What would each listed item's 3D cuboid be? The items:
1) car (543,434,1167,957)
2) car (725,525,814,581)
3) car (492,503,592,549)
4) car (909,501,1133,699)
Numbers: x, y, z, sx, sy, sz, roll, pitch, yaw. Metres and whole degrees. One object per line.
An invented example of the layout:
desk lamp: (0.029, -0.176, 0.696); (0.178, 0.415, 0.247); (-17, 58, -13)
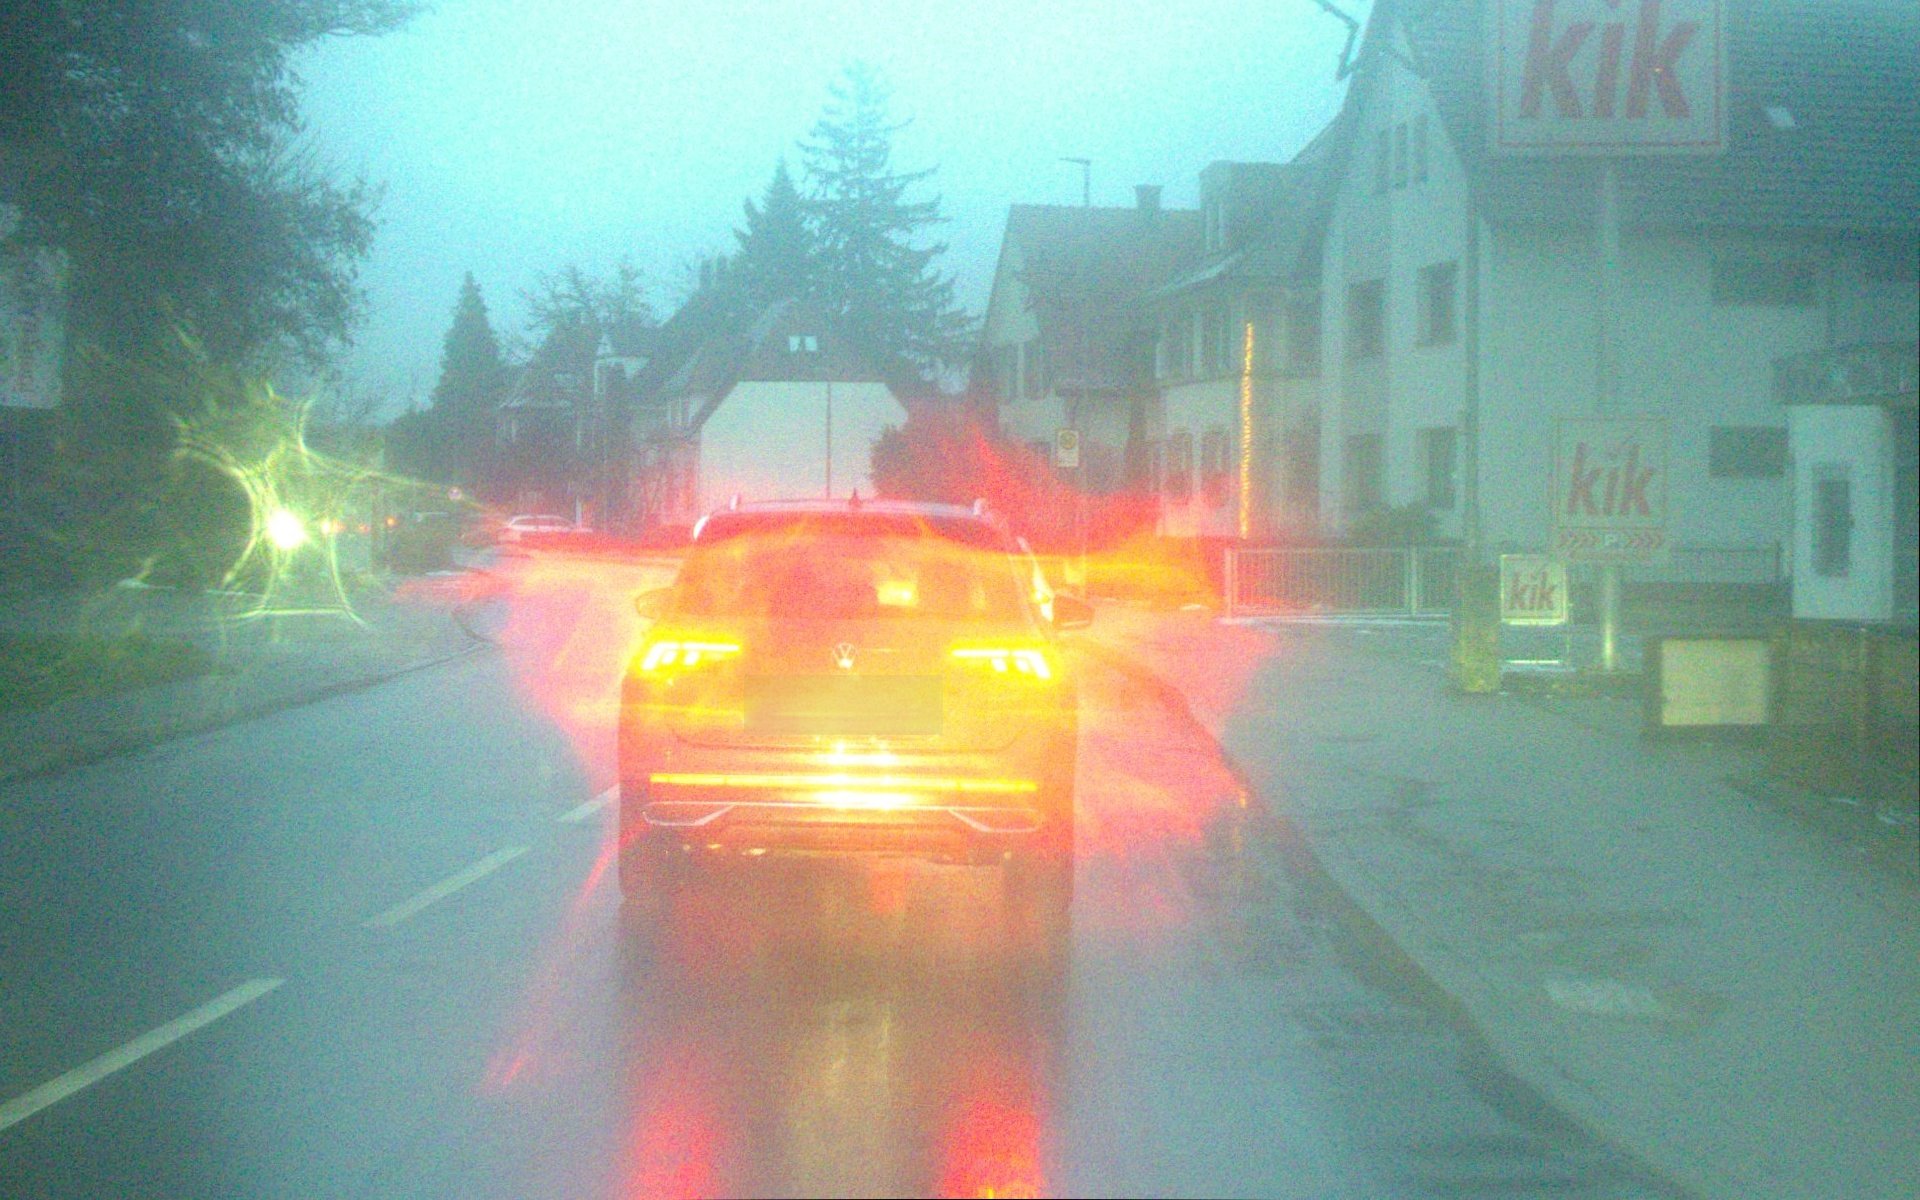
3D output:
car: (-0.403, 0.316, 15.246); (2.309, 1.932, 5.018); (0, 1, 0)
car: (-4.695, -1.168, 84.174); (1.842, 1.327, 3.939); (0, 1, -8)
car: (-18.401, -3.279, 151.267); (4.245, 2.007, 1.811); (0, 1, -12)
car: (0.500, -0.057, 31.175); (1.857, 1.641, 4.000); (1, 2, 0)
